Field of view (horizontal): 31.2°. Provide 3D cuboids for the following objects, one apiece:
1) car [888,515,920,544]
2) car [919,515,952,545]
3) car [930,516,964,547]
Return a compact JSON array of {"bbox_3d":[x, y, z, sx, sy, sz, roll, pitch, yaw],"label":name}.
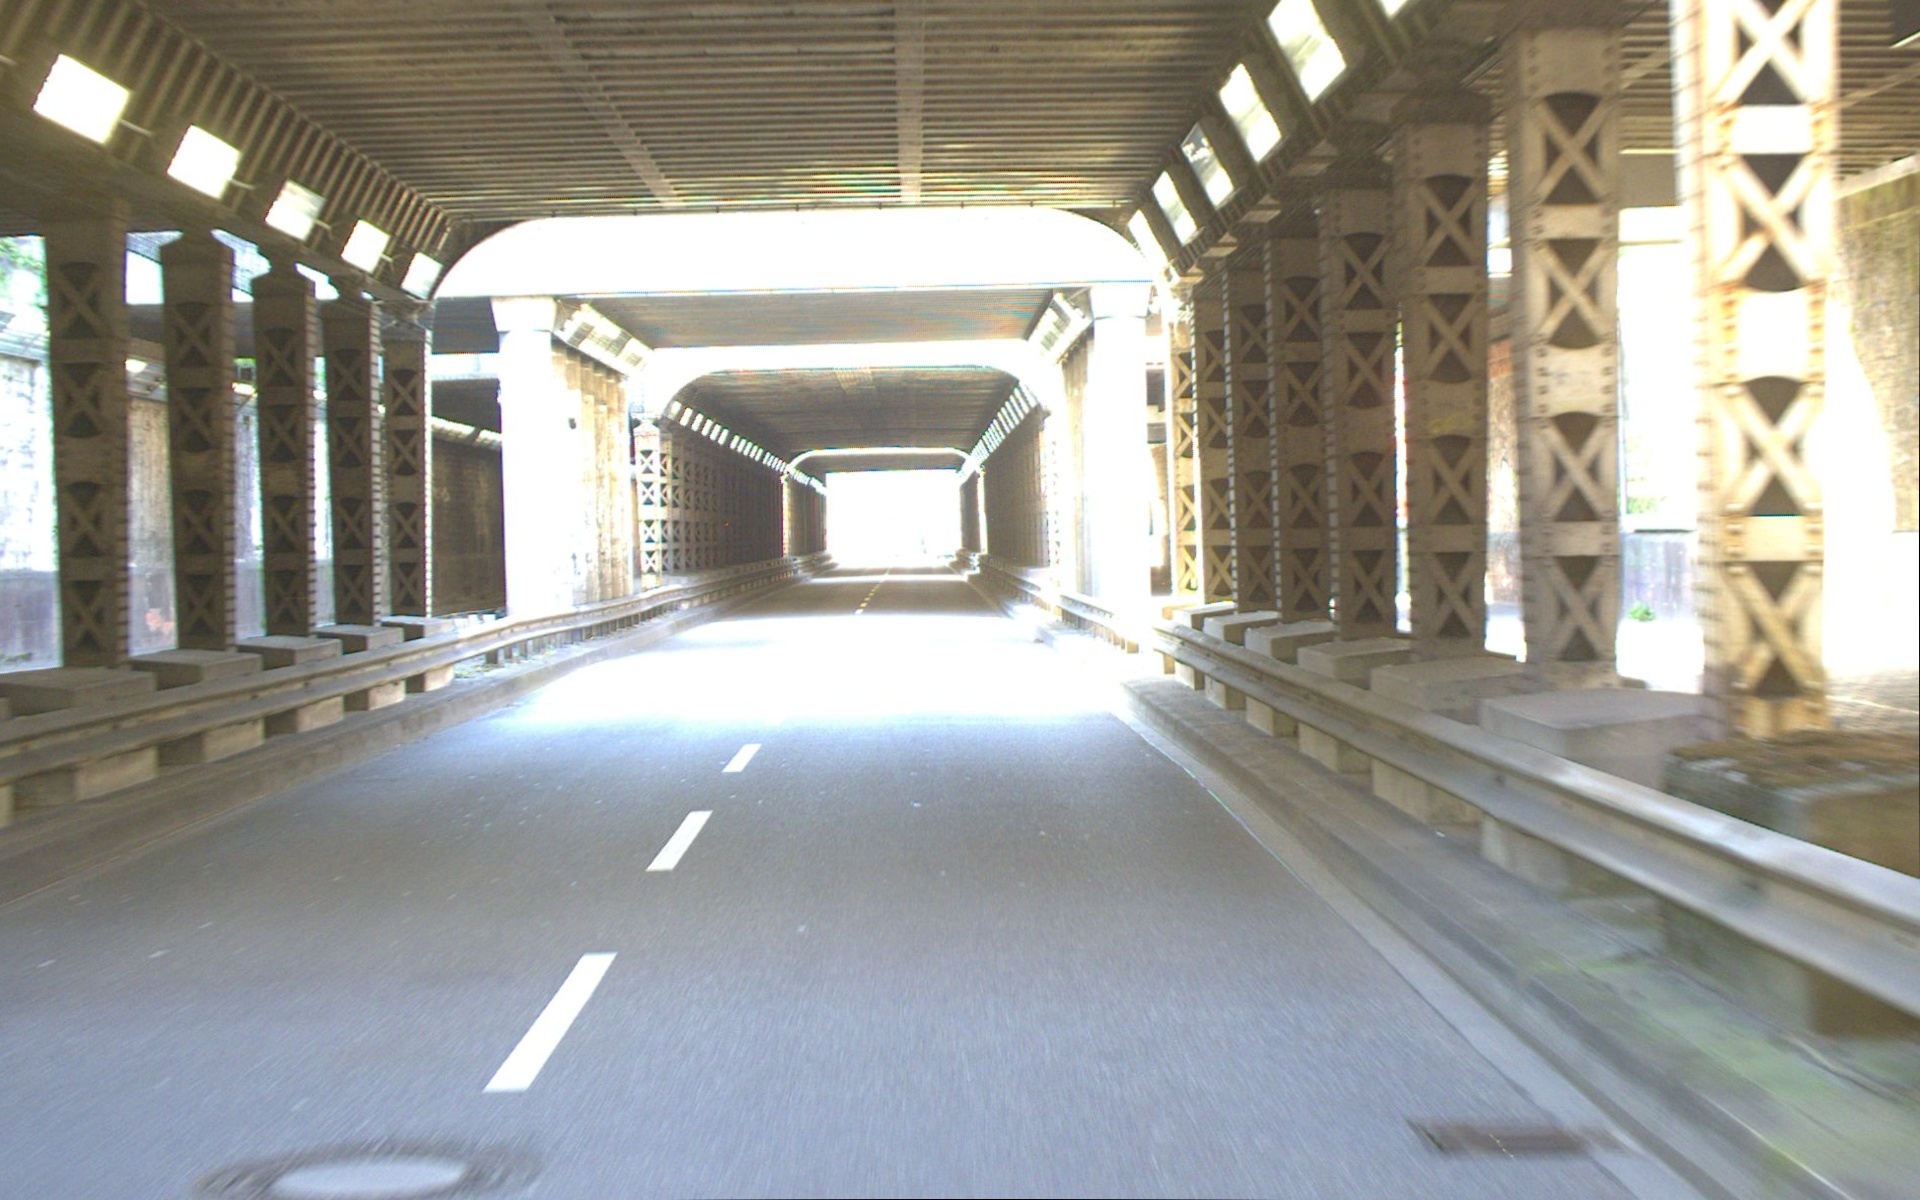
[{"bbox_3d":[-3.588,-4.480,219.444,1.993,1.778,4.000,-1,1,-1],"label":"car"},{"bbox_3d":[-1.508,-4.329,212.974,1.993,1.778,4.000,-1,1,-1],"label":"car"},{"bbox_3d":[-0.776,-4.034,203.728,1.993,1.778,4.000,-1,1,-1],"label":"car"}]
